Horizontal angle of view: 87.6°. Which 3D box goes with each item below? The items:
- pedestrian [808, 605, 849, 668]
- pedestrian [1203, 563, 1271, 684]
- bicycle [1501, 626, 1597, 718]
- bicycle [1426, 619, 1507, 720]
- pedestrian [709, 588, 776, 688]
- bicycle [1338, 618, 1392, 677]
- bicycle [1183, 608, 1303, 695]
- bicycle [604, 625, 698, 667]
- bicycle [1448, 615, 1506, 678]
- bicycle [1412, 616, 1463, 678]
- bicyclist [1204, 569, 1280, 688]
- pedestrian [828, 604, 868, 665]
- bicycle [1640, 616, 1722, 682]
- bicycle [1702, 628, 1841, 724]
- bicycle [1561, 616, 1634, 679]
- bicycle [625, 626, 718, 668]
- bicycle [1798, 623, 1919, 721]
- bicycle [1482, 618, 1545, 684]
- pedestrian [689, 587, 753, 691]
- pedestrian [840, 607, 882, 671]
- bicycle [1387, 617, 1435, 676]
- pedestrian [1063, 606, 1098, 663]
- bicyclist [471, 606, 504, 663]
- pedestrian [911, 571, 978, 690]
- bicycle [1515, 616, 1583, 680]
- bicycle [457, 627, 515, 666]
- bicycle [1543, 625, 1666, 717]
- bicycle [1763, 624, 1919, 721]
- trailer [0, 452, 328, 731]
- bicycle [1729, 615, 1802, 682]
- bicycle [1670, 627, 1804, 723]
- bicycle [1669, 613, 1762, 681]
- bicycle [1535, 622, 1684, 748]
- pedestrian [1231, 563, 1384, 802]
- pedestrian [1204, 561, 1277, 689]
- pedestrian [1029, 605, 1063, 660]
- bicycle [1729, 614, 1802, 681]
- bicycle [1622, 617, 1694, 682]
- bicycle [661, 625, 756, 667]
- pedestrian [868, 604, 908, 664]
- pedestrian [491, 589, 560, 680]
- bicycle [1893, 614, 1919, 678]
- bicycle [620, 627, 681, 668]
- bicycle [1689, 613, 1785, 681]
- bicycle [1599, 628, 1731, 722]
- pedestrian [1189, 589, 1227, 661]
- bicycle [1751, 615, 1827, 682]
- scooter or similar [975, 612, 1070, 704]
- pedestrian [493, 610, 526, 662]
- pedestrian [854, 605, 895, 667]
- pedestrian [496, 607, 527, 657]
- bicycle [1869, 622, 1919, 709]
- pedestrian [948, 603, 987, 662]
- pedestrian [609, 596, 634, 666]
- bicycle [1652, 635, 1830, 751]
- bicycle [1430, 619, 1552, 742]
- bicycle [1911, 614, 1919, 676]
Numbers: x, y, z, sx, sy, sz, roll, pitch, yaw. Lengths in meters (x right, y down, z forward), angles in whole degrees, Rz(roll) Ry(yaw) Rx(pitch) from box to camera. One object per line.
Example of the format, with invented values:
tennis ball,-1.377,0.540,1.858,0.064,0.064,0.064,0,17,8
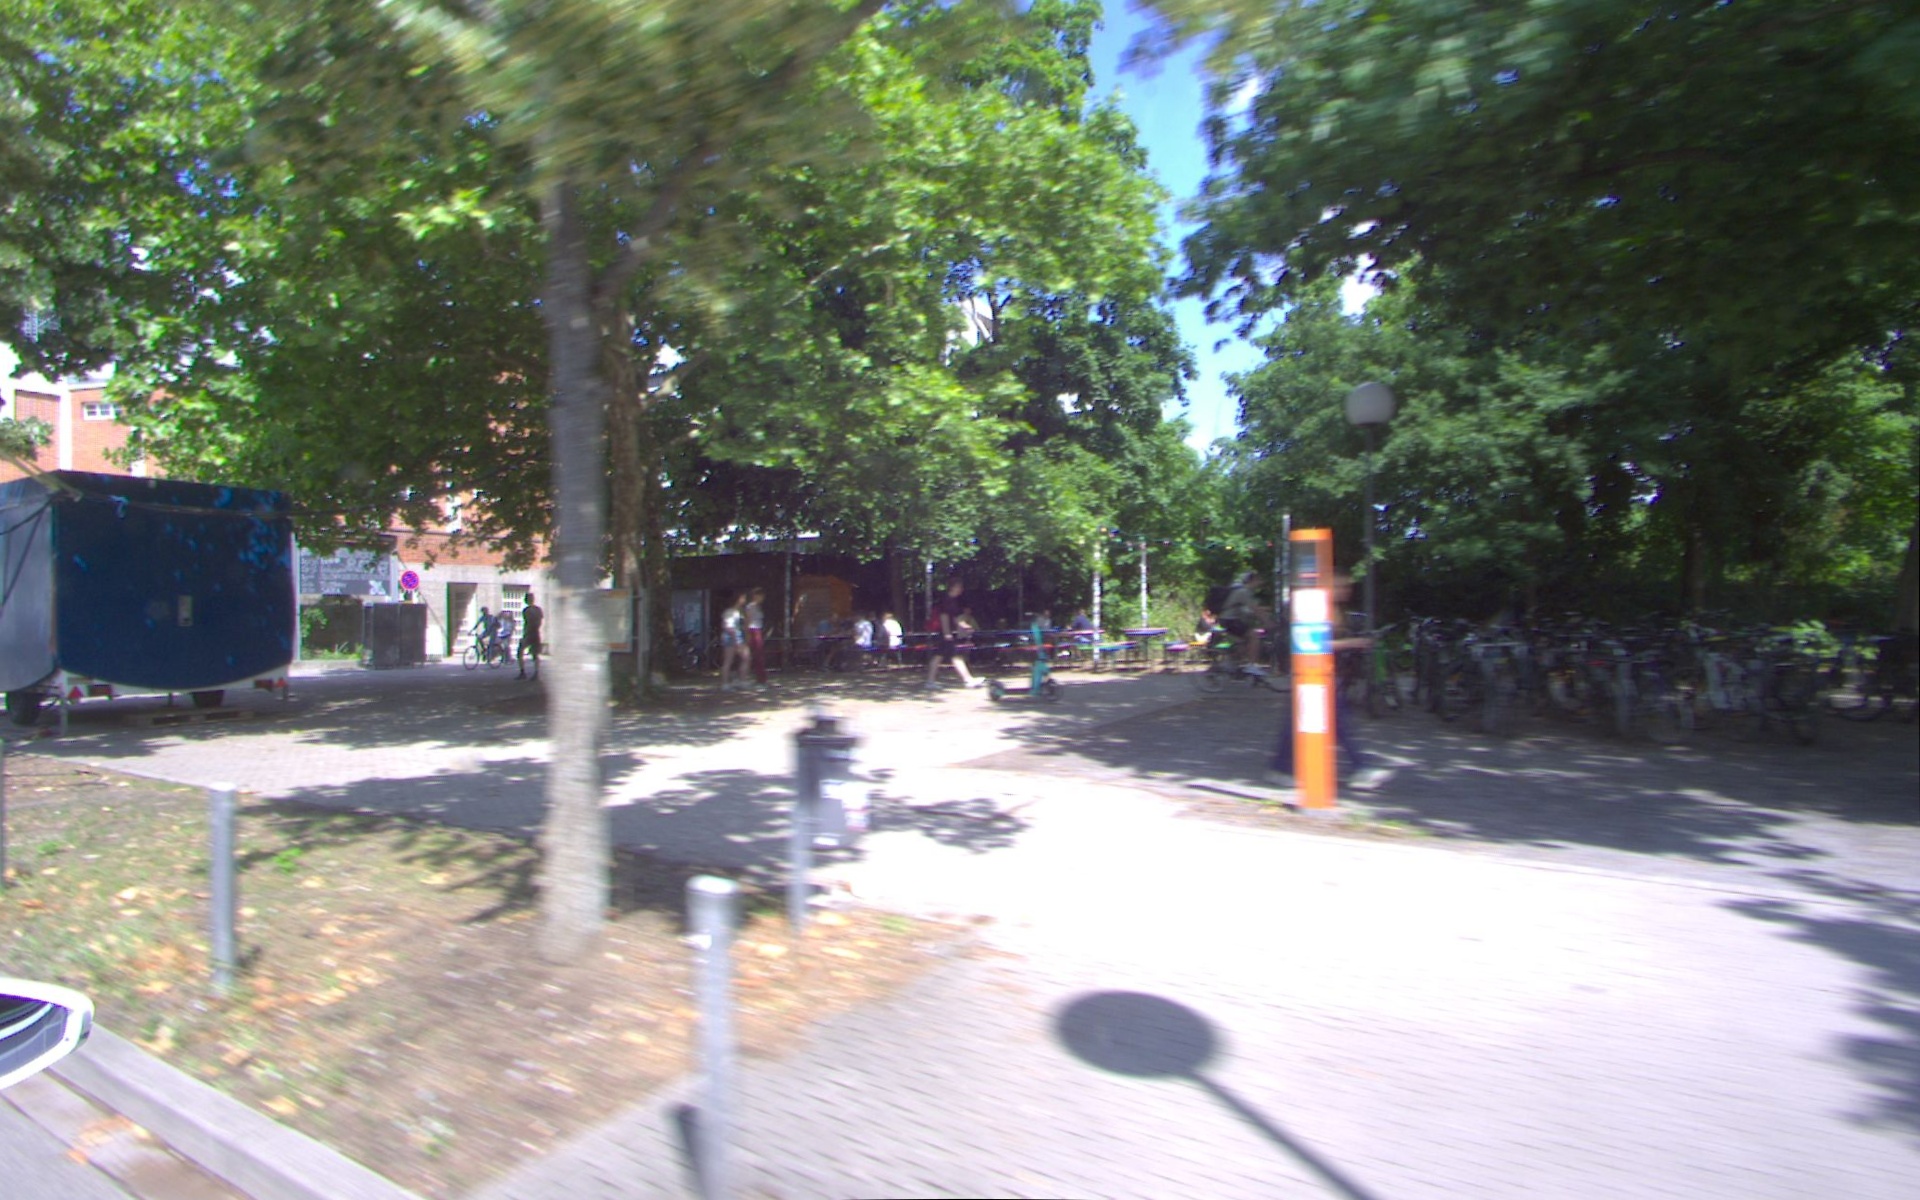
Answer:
pedestrian,-2.969,0.817,22.631,0.718,1.365,0.568,1,3,28
pedestrian,4.657,0.383,16.896,1.058,1.975,0.834,0,2,12
bicycle,7.219,0.840,12.356,0.469,0.992,1.902,0,0,13
bicycle,6.437,0.843,12.809,0.469,1.158,1.902,0,0,13
pedestrian,-3.756,0.639,17.299,0.812,1.683,0.763,0,1,32
bicycle,7.460,0.855,18.513,0.601,0.992,1.958,0,0,13
bicycle,4.255,0.762,15.135,1.705,1.269,0.531,0,2,12
bicycle,-8.466,1.233,27.535,0.775,1.085,2.382,-1,-1,45
bicycle,9.502,0.831,18.448,0.469,1.053,1.958,0,0,13
bicycle,8.776,0.839,18.472,0.427,1.053,1.958,0,0,13
bicyclist,4.244,0.422,15.125,1.058,1.753,0.531,0,2,12
pedestrian,-2.610,0.789,23.307,0.718,1.365,0.568,1,3,28
bicycle,12.566,0.833,17.511,0.469,1.053,1.752,0,0,11
bicycle,9.598,0.859,11.927,0.413,0.992,1.902,0,0,10
bicycle,11.459,0.827,18.047,0.469,1.053,1.831,0,0,11
bicycle,-7.747,1.243,26.986,0.773,1.085,2.386,-1,-1,39
bicycle,10.590,0.793,11.581,0.469,0.992,1.903,0,0,9
bicycle,9.703,0.868,17.607,0.426,1.053,1.783,0,0,11
pedestrian,-4.004,0.642,16.783,0.777,1.683,0.696,0,1,32
pedestrian,-2.206,0.849,22.253,0.718,1.365,0.568,1,3,28
bicycle,8.382,0.837,18.677,0.430,0.992,1.958,0,0,13
pedestrian,2.874,0.812,23.851,0.612,1.289,0.665,1,3,28
bicyclist,-13.768,1.006,29.205,0.609,1.628,0.658,0,0,4
pedestrian,-0.254,0.487,16.432,0.812,1.879,0.763,0,1,32
bicycle,10.594,0.840,18.059,0.469,1.053,1.783,0,0,11
bicycle,-13.778,1.338,29.187,0.609,1.094,2.027,0,-1,4
bicycle,7.864,0.833,12.311,0.413,0.992,1.903,-1,0,4
bicycle,10.233,0.798,11.685,0.469,0.992,1.903,0,0,9
trailer,-11.810,-0.069,13.855,6.165,3.092,2.686,0,1,31
bicycle,14.269,0.833,17.780,0.341,1.108,1.609,0,0,13
bicycle,9.122,0.840,11.842,0.413,0.992,1.902,0,0,10
bicycle,13.238,0.793,17.595,0.469,1.108,1.753,-1,0,6
bicycle,6.630,0.821,10.338,0.601,1.133,1.902,0,0,10
pedestrian,2.474,0.544,7.143,0.914,1.593,0.567,1,2,33
pedestrian,4.463,0.389,15.992,1.058,1.975,0.834,0,2,12
pedestrian,2.071,0.770,24.150,0.612,1.289,0.665,1,3,28
bicycle,14.267,0.809,17.766,0.341,1.108,1.609,0,0,13
bicycle,12.219,0.835,17.577,0.341,1.053,1.752,0,0,11
bicycle,-6.649,1.222,26.595,0.775,1.085,2.383,-1,-3,44
pedestrian,-1.674,0.777,23.279,0.718,1.365,0.568,1,3,28
pedestrian,-8.934,0.691,20.615,0.904,1.799,0.958,1,1,24
bicycle,17.059,0.813,17.290,0.469,1.108,1.611,-1,0,3
bicycle,-9.143,1.382,29.583,1.997,1.154,0.572,0,-1,32
bicycle,13.579,0.790,17.562,0.469,1.108,1.753,-1,0,6
bicycle,8.485,0.862,12.137,0.469,0.992,1.903,-1,0,7
pedestrian,5.680,0.551,22.894,0.707,1.604,0.665,1,3,28
bicycle,14.612,0.832,17.687,0.341,1.108,1.609,0,0,13
scooter or similar,0.871,0.793,13.997,1.276,1.234,0.423,-1,0,33
pedestrian,-14.346,1.140,31.877,0.669,1.628,0.657,0,0,17
pedestrian,-1.940,0.799,22.766,0.718,1.365,0.568,1,3,28
pedestrian,-14.723,1.037,32.892,0.669,1.628,0.657,0,0,17
bicycle,11.572,0.781,11.610,0.601,0.992,1.902,0,0,10
pedestrian,0.175,0.779,24.161,0.708,1.365,0.665,1,3,28
pedestrian,-9.345,0.839,27.623,0.523,1.907,0.445,0,0,42
bicycle,7.801,0.882,10.117,0.601,0.992,1.902,0,0,10
bicycle,5.499,0.792,10.476,0.601,1.133,1.808,0,0,10
bicycle,17.432,0.807,17.325,0.469,1.108,1.611,-1,0,3
